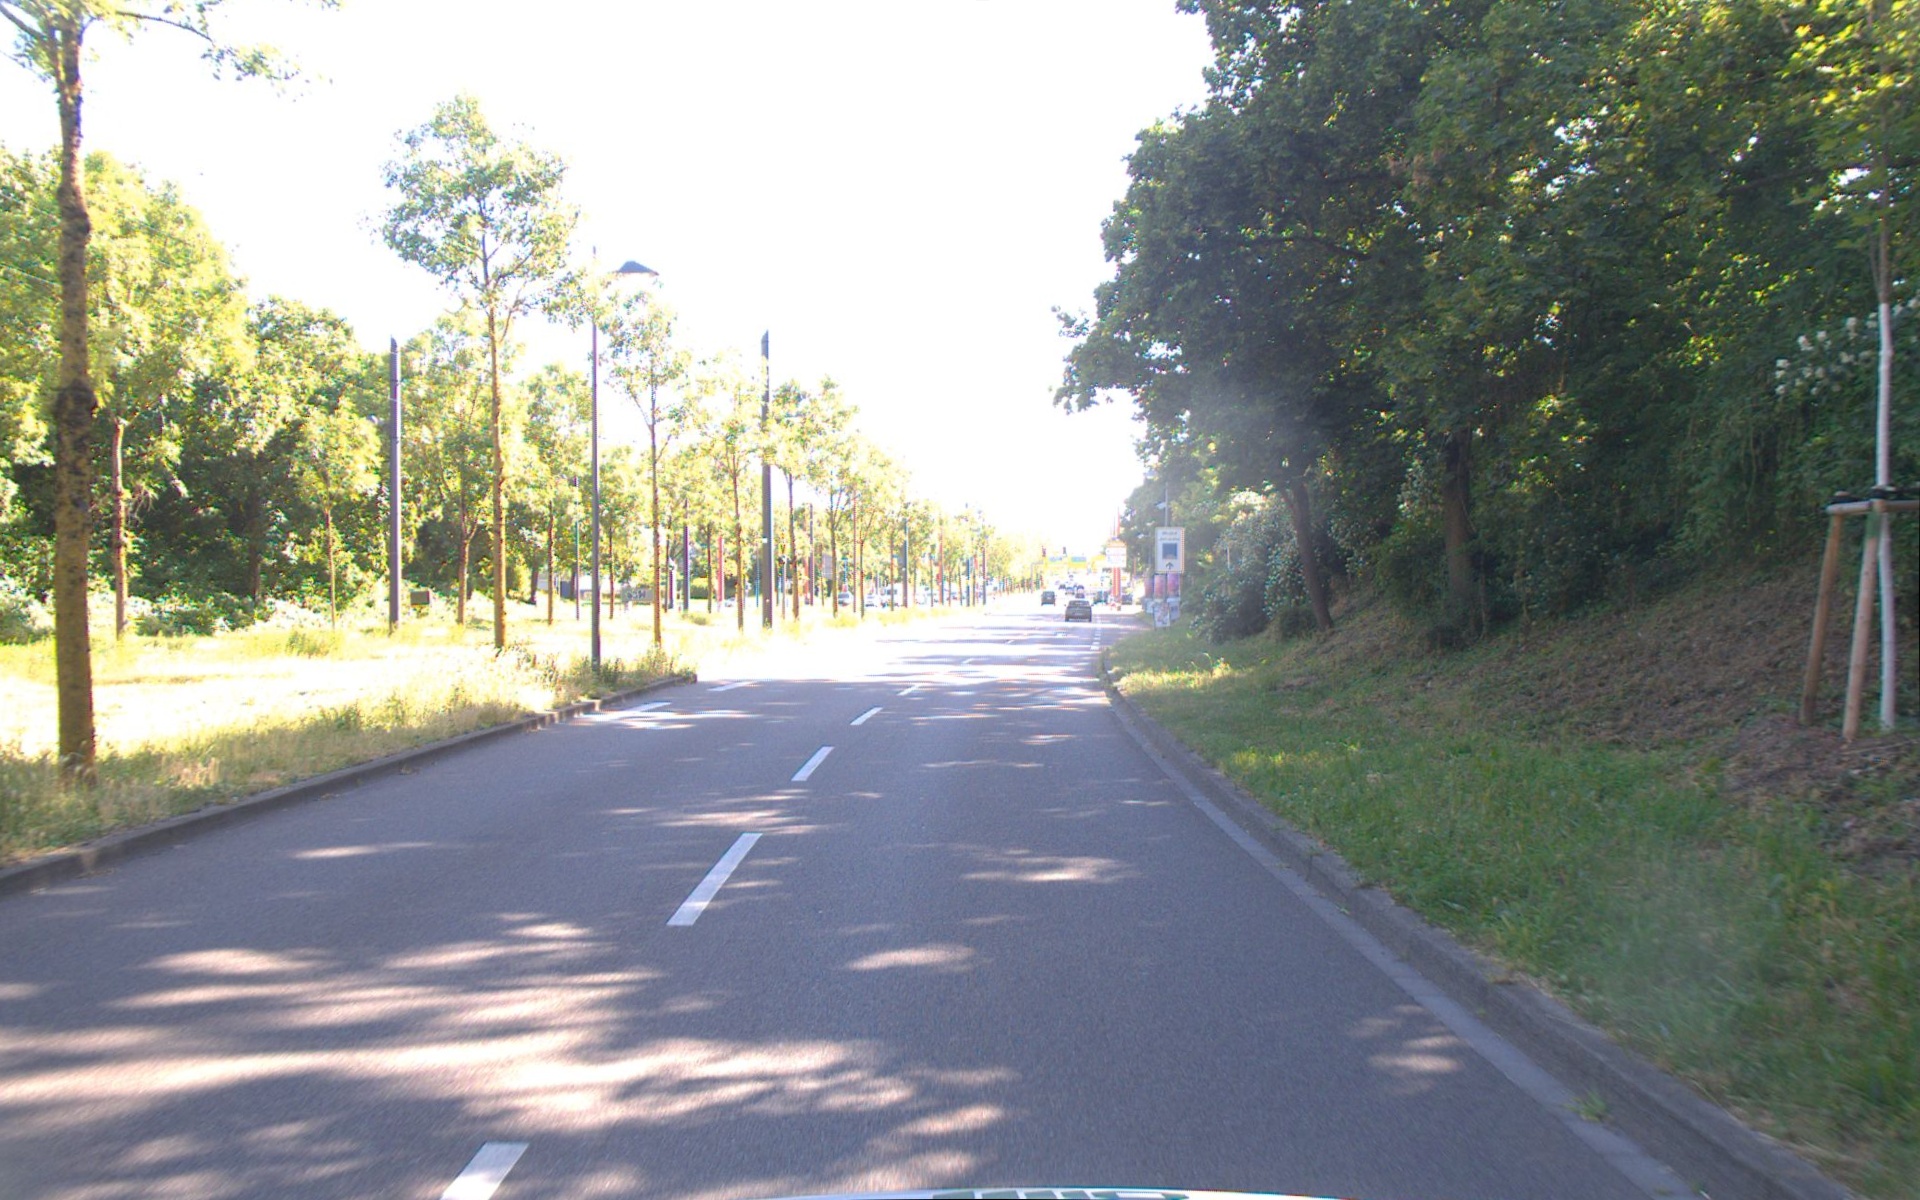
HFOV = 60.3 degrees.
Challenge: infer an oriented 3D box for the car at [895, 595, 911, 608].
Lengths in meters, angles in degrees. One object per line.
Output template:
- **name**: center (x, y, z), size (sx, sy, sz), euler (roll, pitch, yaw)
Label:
- **car**: center (-7.204, 0.188, 209.070), size (1.597, 1.710, 4.193), euler (0, 0, 3)

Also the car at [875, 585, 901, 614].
- **car**: center (-8.322, -0.021, 191.717), size (2.414, 3.296, 6.136), euler (0, 0, 3)

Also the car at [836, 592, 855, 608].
- **car**: center (-12.485, -0.001, 180.584), size (1.597, 1.710, 4.193), euler (0, 0, 3)

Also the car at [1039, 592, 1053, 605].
- **car**: center (10.409, -0.166, 199.636), size (1.599, 1.524, 4.237), euler (0, 0, 5)

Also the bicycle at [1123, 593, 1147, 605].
- **bicycle**: center (17.366, -0.114, 164.553), size (2.364, 1.129, 0.813), euler (0, 0, 4)

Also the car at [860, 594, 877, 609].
- **car**: center (-11.135, 0.158, 202.167), size (1.597, 1.710, 4.193), euler (0, 0, 3)

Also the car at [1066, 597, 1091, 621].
- **car**: center (7.755, 0.586, 108.032), size (1.599, 1.524, 4.237), euler (0, 0, 5)
